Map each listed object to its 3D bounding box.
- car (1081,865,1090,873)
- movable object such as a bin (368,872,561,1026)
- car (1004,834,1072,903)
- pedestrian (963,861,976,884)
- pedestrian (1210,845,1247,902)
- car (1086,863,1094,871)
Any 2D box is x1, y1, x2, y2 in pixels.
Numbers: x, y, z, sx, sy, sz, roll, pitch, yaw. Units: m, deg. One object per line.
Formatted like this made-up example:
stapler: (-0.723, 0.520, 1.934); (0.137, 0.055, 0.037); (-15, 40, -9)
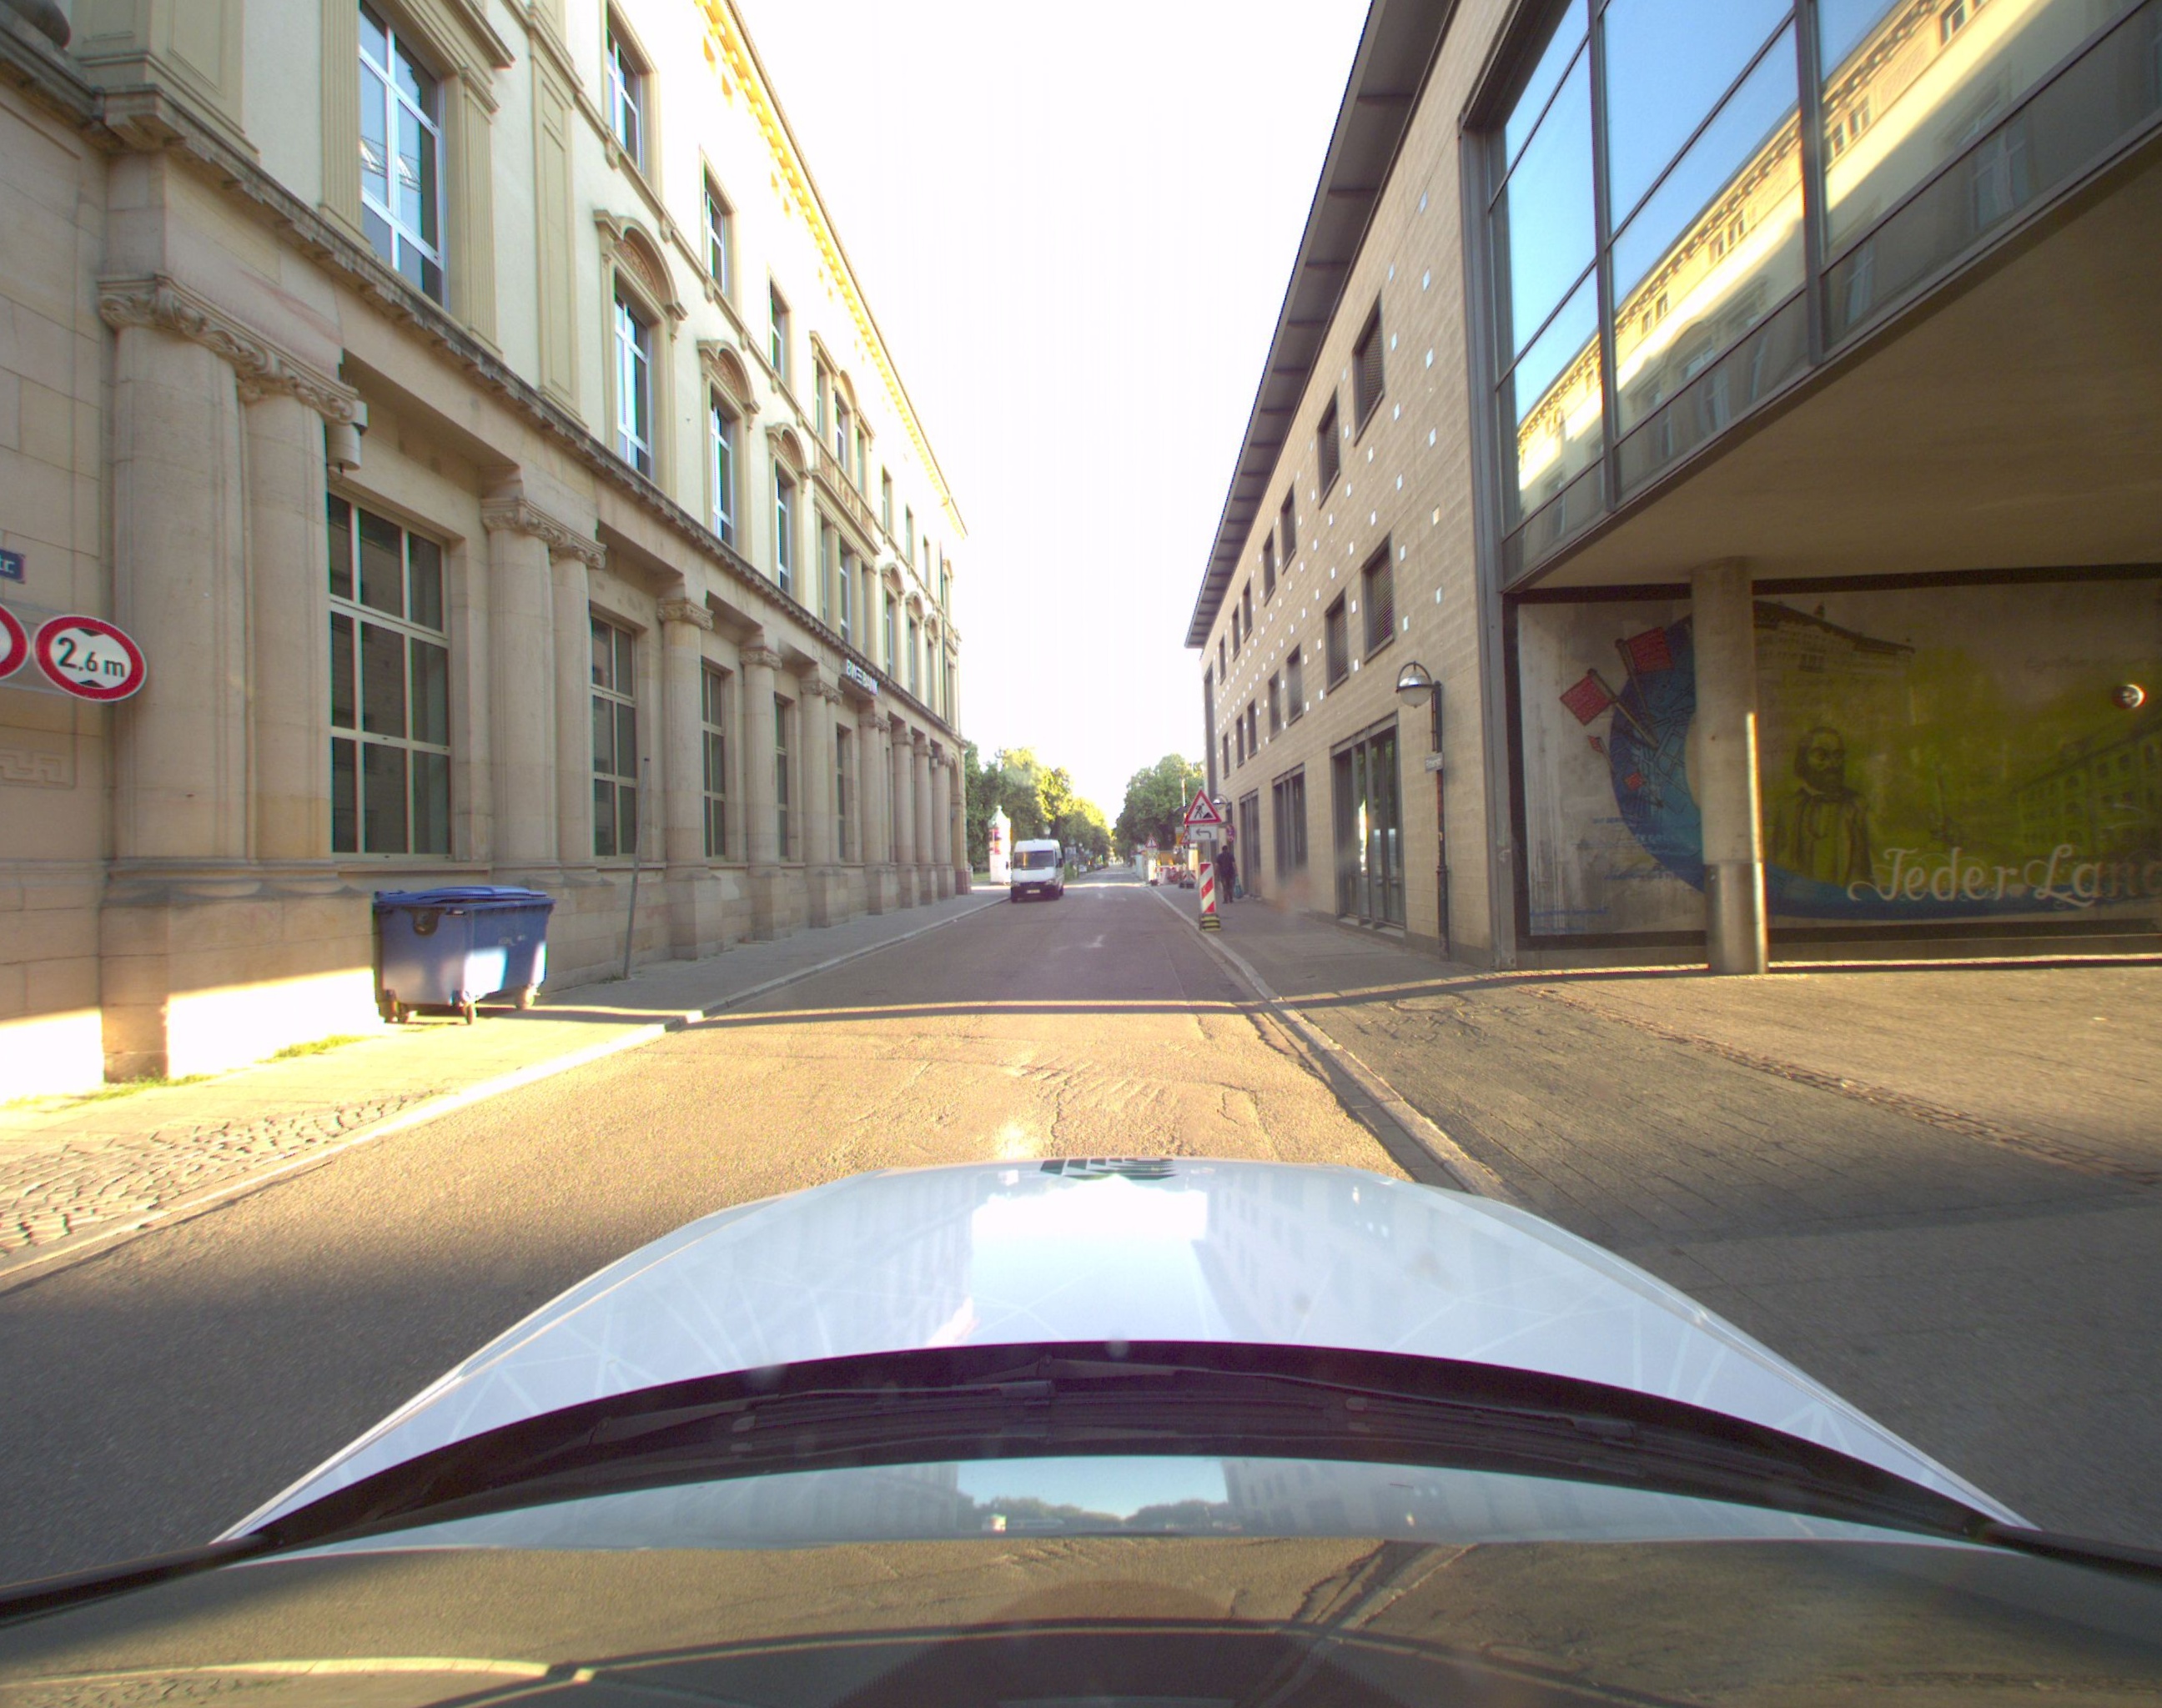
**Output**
car: (0.764, 2.536, 135.990); (1.462, 1.256, 3.681); (-1, -1, 2)
movable object such as a bin: (-6.410, 0.940, 8.553); (1.068, 1.475, 1.189); (-1, -1, 6)
car: (-1.709, 0.580, 34.705); (1.988, 2.512, 6.474); (-5, -1, 3)
pedestrian: (-8.308, 1.388, 60.622); (0.742, 1.702, 0.704); (-3, -1, 9)
pedestrian: (4.586, 0.611, 25.360); (0.919, 1.702, 0.869); (-3, -1, 2)
car: (1.885, 2.595, 161.773); (1.462, 1.404, 3.681); (-1, -1, 2)
